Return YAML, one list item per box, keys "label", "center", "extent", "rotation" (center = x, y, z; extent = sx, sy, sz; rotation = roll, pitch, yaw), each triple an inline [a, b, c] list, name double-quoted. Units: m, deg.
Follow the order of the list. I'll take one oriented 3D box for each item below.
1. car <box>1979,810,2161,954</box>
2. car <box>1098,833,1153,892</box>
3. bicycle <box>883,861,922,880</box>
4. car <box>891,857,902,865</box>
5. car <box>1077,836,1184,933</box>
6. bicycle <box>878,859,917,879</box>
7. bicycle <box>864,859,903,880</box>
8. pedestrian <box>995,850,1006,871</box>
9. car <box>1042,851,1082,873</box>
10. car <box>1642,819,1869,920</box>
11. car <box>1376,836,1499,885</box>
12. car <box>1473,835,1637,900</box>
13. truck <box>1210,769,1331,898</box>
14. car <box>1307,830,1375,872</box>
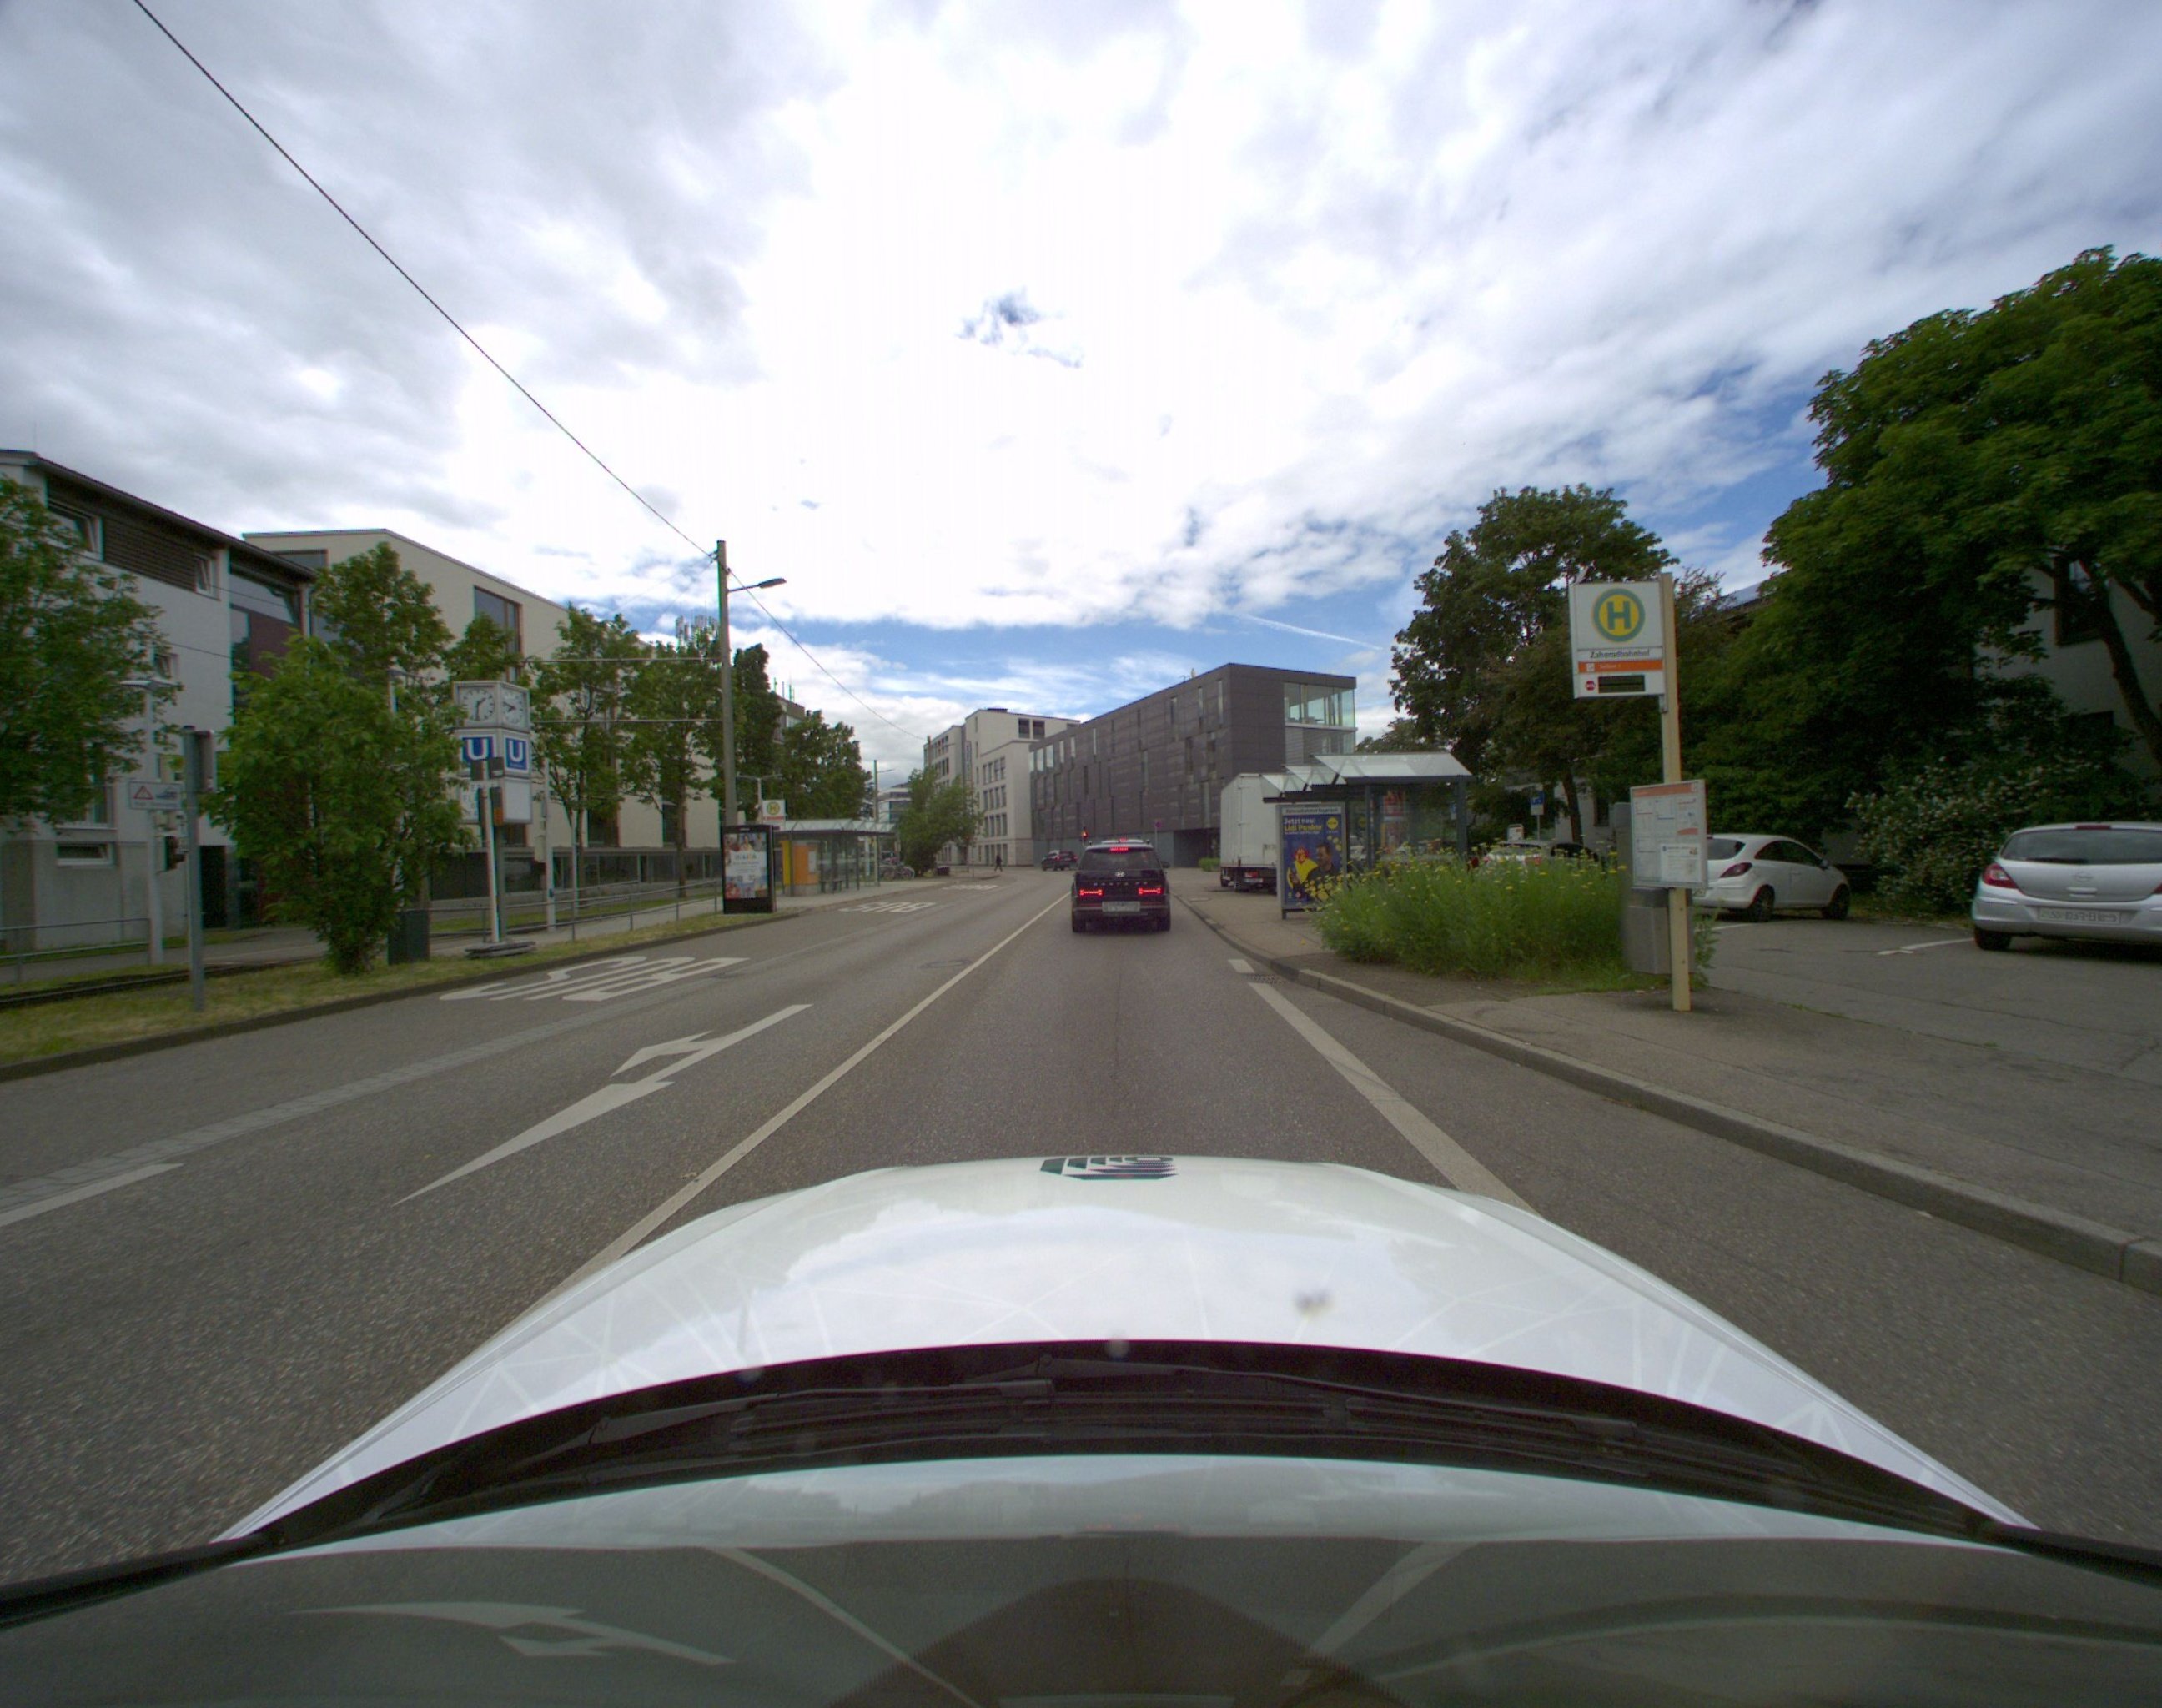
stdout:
- label: "car"
  center: [11.908, 0.211, 9.245]
  extent: [3.526, 1.378, 1.533]
  rotation: [-3, 2, -29]
- label: "car"
  center: [1.650, 0.281, 30.865]
  extent: [1.848, 2.033, 4.439]
  rotation: [-2, 0, 2]
- label: "bicycle"
  center: [-10.338, 0.945, 47.081]
  extent: [2.089, 1.106, 0.632]
  rotation: [-1, 0, 4]
- label: "car"
  center: [-36.474, 1.425, 161.012]
  extent: [1.903, 1.486, 3.980]
  rotation: [-2, 0, -15]
- label: "car"
  center: [0.886, 0.535, 16.643]
  extent: [1.909, 1.725, 4.170]
  rotation: [0, 0, 0]
- label: "bicycle"
  center: [-10.419, 0.850, 46.284]
  extent: [2.090, 1.106, 0.632]
  rotation: [-1, 0, 3]
- label: "bicycle"
  center: [-10.676, 0.834, 44.064]
  extent: [1.920, 1.106, 0.588]
  rotation: [-1, 0, 3]
- label: "pedestrian"
  center: [-7.060, 0.585, 71.402]
  extent: [0.938, 1.800, 0.589]
  rotation: [-2, 0, -9]
- label: "car"
  center: [-1.584, 0.698, 66.625]
  extent: [1.855, 1.677, 4.343]
  rotation: [-3, 0, -21]
- label: "car"
  center: [11.766, 0.242, 14.200]
  extent: [3.656, 1.435, 1.578]
  rotation: [-4, -1, -25]
- label: "car"
  center: [11.153, 0.202, 25.470]
  extent: [3.510, 1.455, 1.666]
  rotation: [0, -1, -26]
- label: "car"
  center: [11.749, 0.342, 20.168]
  extent: [3.813, 1.474, 1.782]
  rotation: [1, -1, -28]
- label: "truck"
  center: [5.932, -0.593, 26.745]
  extent: [2.562, 3.525, 7.819]
  rotation: [-2, 0, 4]
- label: "car"
  center: [12.587, -0.111, 39.716]
  extent: [1.986, 1.838, 4.520]
  rotation: [-3, -1, 2]
